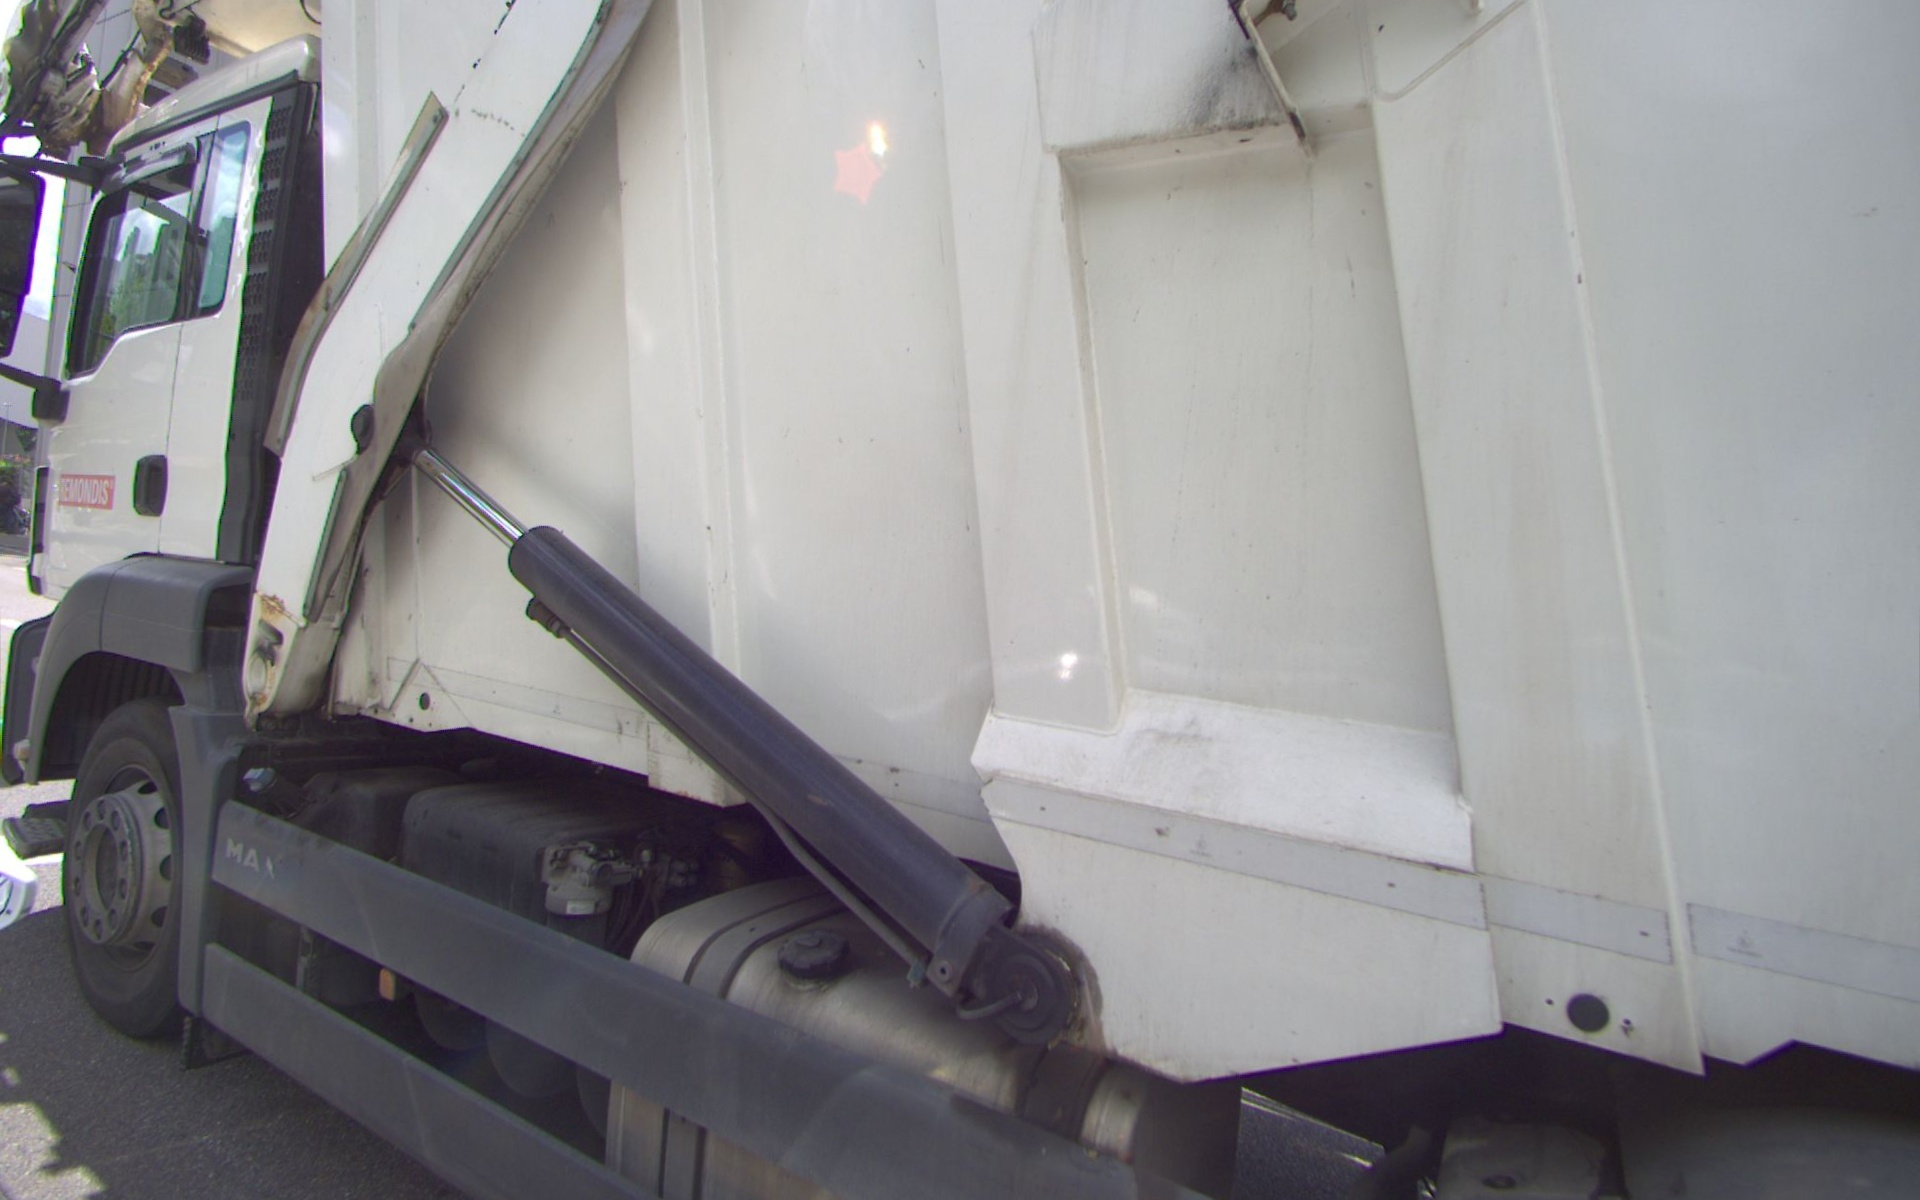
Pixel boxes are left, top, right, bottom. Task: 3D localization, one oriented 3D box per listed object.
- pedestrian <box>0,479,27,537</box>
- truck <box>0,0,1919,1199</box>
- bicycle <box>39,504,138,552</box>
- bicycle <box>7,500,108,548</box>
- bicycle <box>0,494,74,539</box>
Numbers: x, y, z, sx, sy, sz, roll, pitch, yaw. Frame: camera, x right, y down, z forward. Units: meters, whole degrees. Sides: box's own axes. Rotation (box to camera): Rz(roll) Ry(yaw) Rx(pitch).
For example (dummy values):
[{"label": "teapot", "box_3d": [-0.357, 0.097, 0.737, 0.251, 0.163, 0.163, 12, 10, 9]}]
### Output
[{"label": "pedestrian", "box_3d": [-28.824, -2.798, 30.347, 0.646, 1.659, 0.535, 7, -1, -1]}, {"label": "truck", "box_3d": [1.338, -0.240, 2.038, 10.003, 3.958, 2.494, 6, -1, 31]}, {"label": "bicycle", "box_3d": [-26.852, -2.198, 31.045, 2.166, 1.099, 0.474, 8, -1, -23]}, {"label": "bicycle", "box_3d": [-27.951, -2.337, 31.204, 2.197, 1.099, 0.474, 8, -1, -23]}, {"label": "bicycle", "box_3d": [-29.286, -2.643, 31.489, 2.197, 1.099, 0.474, 8, -1, -23]}]
